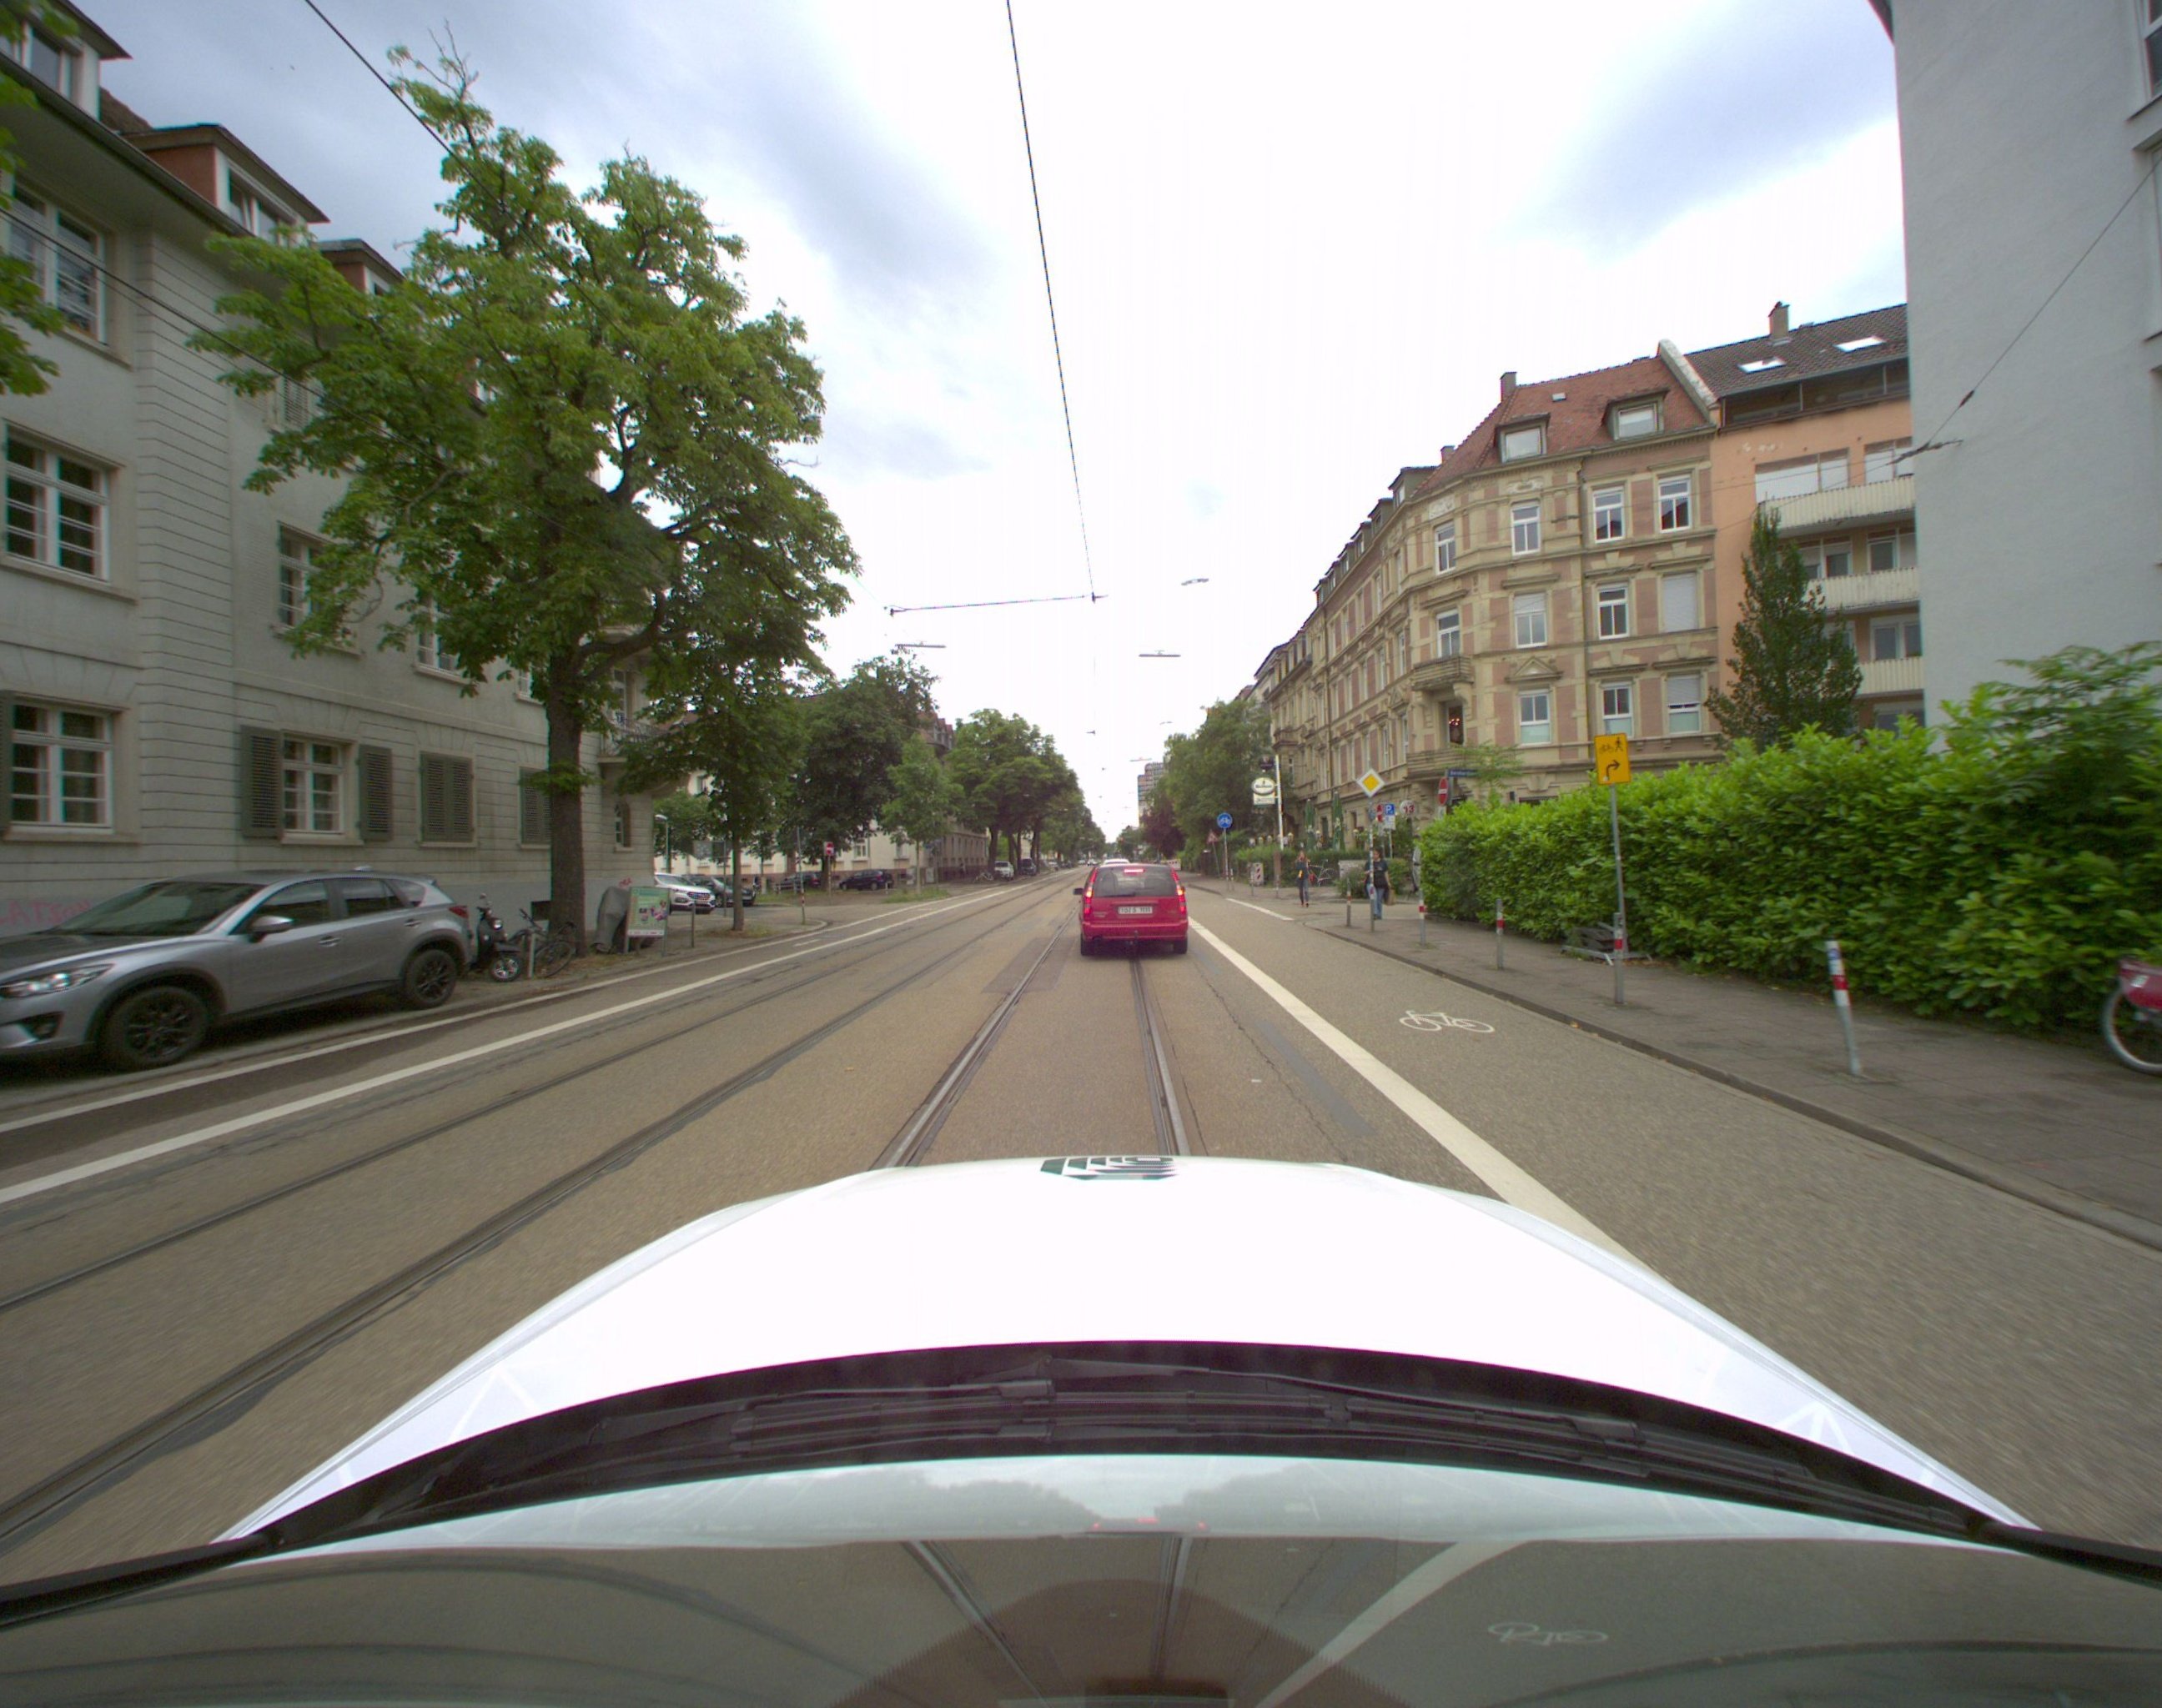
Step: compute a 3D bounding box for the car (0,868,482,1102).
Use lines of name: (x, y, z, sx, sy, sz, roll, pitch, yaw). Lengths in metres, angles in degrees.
car: (-8.645, 1.009, 8.220, 1.830, 1.661, 4.297, 0, 0, 3)

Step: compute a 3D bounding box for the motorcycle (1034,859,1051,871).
motorcycle: (-5.108, 1.510, 107.690, 2.243, 1.511, 0.932, -3, -3, 37)

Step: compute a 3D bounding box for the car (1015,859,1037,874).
car: (-5.728, 1.310, 85.427, 1.770, 1.511, 4.241, -1, 0, 3)

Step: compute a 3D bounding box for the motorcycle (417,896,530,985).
motorcycle: (-8.785, 1.232, 11.788, 1.278, 1.222, 0.549, -1, -1, 8)

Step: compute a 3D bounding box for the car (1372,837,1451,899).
car: (11.249, 0.433, 28.057, 2.036, 1.877, 5.052, -2, 0, 17)

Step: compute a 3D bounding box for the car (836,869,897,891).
car: (-14.428, 1.726, 54.774, 3.715, 1.307, 1.751, -3, -1, 25)

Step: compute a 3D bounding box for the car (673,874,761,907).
car: (-16.803, 1.693, 37.595, 4.018, 1.410, 1.672, -2, -1, 31)

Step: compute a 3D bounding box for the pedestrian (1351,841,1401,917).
pedestrian: (6.718, 0.564, 18.610, 0.789, 1.636, 0.837, -3, -1, 4)

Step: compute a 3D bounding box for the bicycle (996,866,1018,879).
bicycle: (-6.540, 1.629, 71.967, 1.730, 1.192, 0.655, 0, 0, 16)

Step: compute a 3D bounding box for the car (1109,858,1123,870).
car: (4.863, 1.344, 113.855, 1.736, 1.606, 3.999, -2, -1, 0)

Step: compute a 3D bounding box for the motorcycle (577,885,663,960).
motorcycle: (-8.792, 1.270, 15.640, 0.539, 1.257, 2.139, -2, 0, -4)

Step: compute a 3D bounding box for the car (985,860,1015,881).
car: (-6.561, 1.336, 66.617, 1.890, 1.655, 4.226, -2, -1, 1)

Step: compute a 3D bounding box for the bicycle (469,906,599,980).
bicycle: (-8.422, 1.352, 12.587, 1.369, 1.005, 0.931, 1, 0, 6)

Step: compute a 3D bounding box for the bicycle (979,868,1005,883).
bicycle: (-6.820, 1.654, 62.772, 1.915, 1.121, 0.624, 0, -1, 1)

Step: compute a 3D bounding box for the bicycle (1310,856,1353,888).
bicycle: (10.279, 0.734, 33.444, 1.593, 1.277, 0.515, -2, -1, 13)

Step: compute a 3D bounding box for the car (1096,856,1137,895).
car: (1.655, 0.944, 37.240, 1.711, 1.625, 3.945, -2, -1, 4)

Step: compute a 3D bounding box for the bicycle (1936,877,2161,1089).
bicycle: (6.470, 0.756, 4.941, 0.630, 1.127, 1.813, -4, 0, 2)

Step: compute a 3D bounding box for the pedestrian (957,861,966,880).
pedestrian: (-9.658, 1.342, 65.946, 0.562, 1.467, 0.723, -2, -1, 2)

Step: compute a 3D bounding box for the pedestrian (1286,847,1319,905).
pedestrian: (6.506, 0.641, 23.957, 0.866, 1.656, 0.912, -2, -1, 14)

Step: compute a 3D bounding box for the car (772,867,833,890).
car: (-19.689, 1.750, 57.552, 3.896, 1.464, 1.716, -2, 0, 25)

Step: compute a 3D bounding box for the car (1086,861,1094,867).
car: (2.249, 2.332, 195.051, 1.749, 1.380, 4.027, -2, -1, 1)

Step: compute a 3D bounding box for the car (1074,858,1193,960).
car: (0.829, 0.802, 13.622, 1.682, 1.441, 3.745, -1, 0, 2)

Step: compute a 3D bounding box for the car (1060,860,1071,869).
car: (-2.833, 1.946, 152.641, 1.844, 1.563, 3.945, -2, -1, 2)

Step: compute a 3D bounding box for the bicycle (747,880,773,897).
bicycle: (-19.115, 2.054, 48.526, 1.653, 0.925, 0.451, -2, 0, 30)

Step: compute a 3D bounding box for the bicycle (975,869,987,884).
bicycle: (-7.011, 1.575, 57.105, 0.481, 0.958, 1.399, -2, -1, 4)

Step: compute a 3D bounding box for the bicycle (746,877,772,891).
bicycle: (-25.209, 2.324, 63.784, 2.163, 1.035, 0.658, -2, -1, 29)

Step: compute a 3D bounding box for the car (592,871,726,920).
car: (-16.023, 1.580, 30.942, 4.463, 1.663, 1.949, -2, -1, 20)

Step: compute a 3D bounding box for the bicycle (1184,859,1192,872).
bicycle: (9.209, 1.000, 70.011, 0.477, 1.045, 1.532, -2, -1, 3)

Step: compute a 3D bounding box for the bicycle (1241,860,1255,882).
bicycle: (8.045, 0.800, 39.249, 0.300, 1.041, 1.849, -2, 0, 2)
